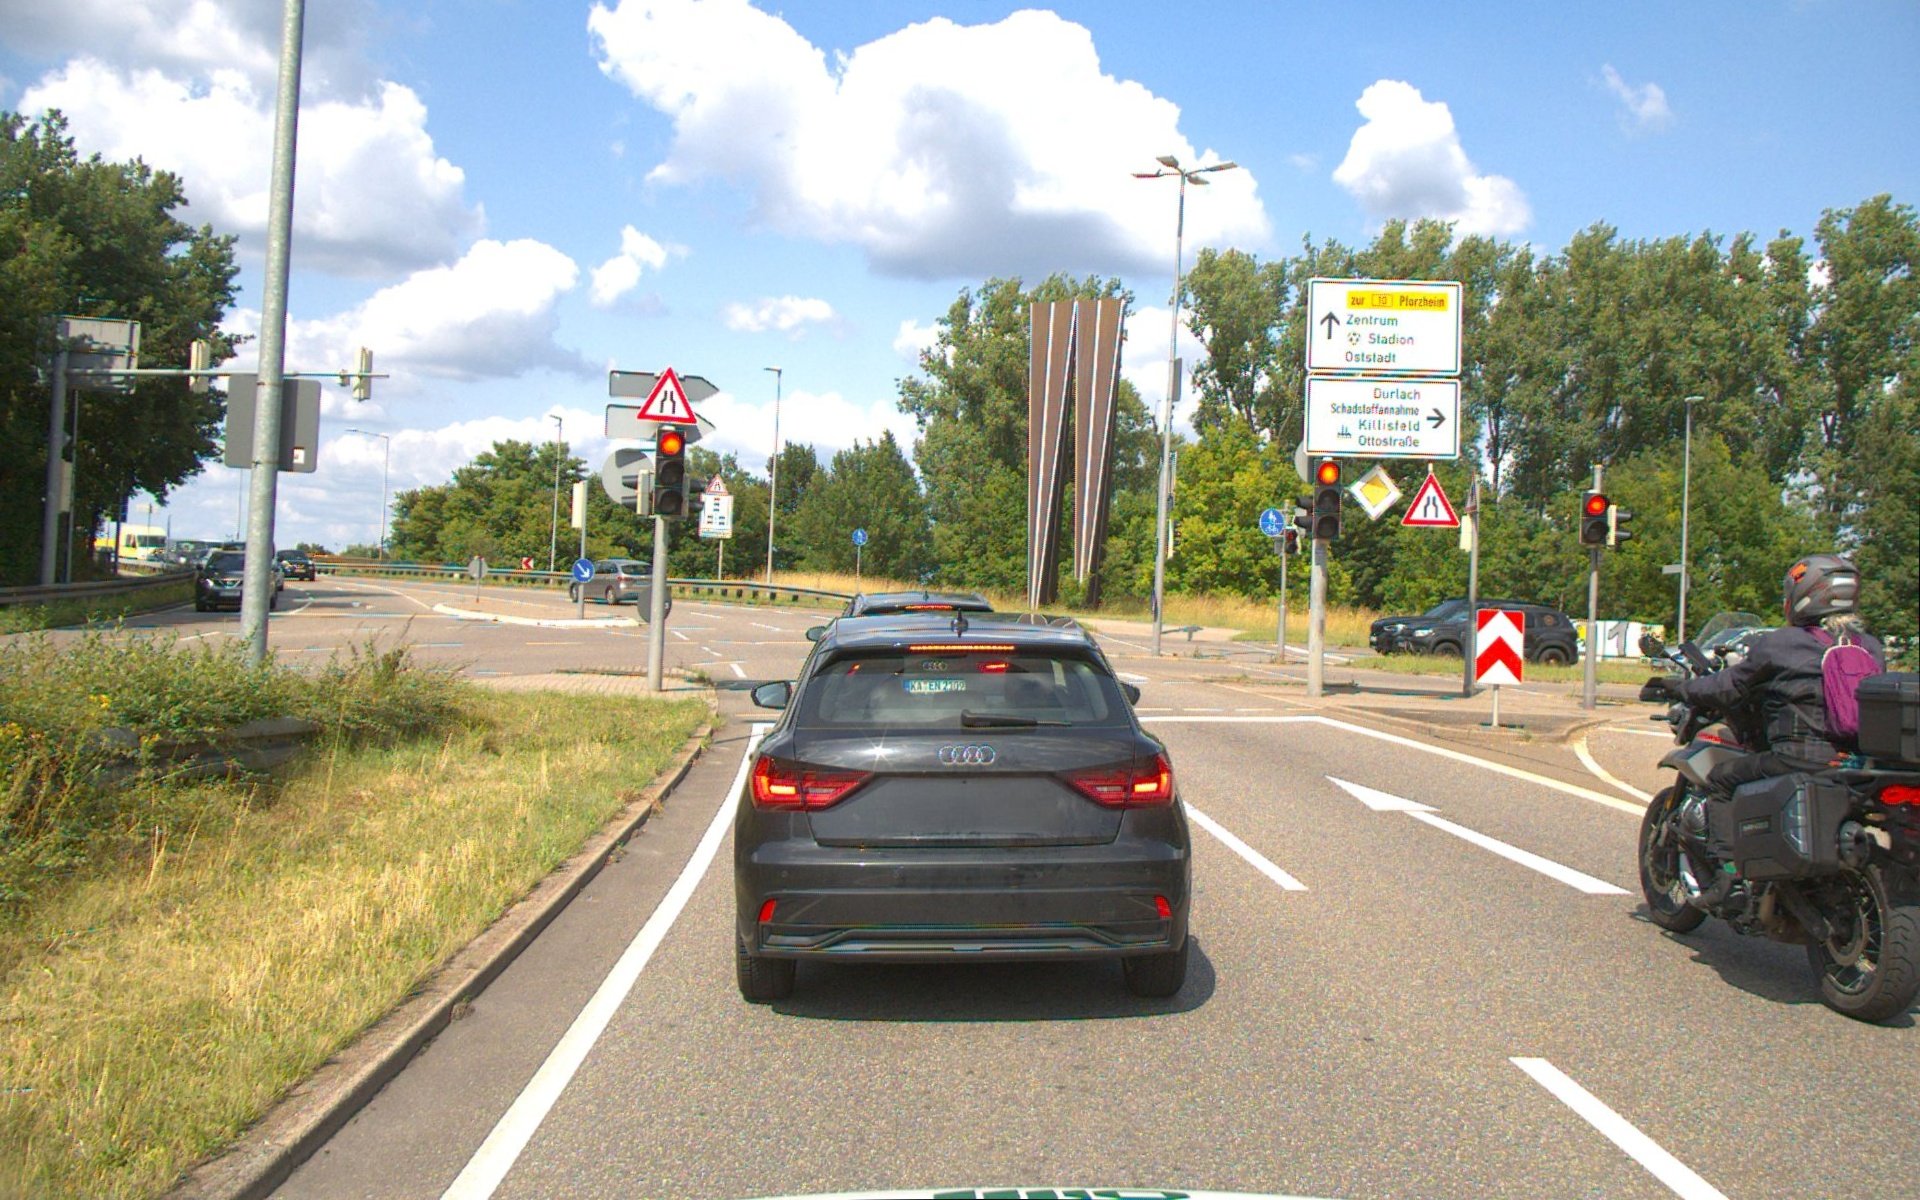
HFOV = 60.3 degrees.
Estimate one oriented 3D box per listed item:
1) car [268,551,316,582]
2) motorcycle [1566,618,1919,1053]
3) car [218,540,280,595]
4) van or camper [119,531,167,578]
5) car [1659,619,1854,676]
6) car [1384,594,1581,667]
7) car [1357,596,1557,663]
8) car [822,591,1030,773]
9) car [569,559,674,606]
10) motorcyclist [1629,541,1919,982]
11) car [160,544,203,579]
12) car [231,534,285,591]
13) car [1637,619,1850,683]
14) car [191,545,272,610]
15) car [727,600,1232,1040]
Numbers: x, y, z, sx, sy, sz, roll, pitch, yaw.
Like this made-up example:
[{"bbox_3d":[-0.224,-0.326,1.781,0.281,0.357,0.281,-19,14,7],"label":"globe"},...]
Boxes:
[{"bbox_3d":[-34.169,-1.716,84.556,1.712,1.522,4.007,2,0,-29],"label":"car"},{"bbox_3d":[3.393,0.813,6.736,0.918,1.407,2.369,2,0,-1],"label":"motorcycle"},{"bbox_3d":[-25.369,-1.140,59.106,1.817,1.833,4.299,2,0,-22],"label":"car"},{"bbox_3d":[-50.329,-2.778,101.788,1.974,2.730,6.788,2,0,-32],"label":"van or camper"},{"bbox_3d":[21.332,1.262,44.385,4.404,1.304,1.736,2,0,-4],"label":"car"},{"bbox_3d":[12.609,0.720,40.071,4.182,1.572,1.736,2,0,-2],"label":"car"},{"bbox_3d":[13.160,0.777,43.931,4.750,1.572,1.736,2,0,-2],"label":"car"},{"bbox_3d":[-0.434,0.648,15.331,1.692,1.448,3.841,0,1,-5],"label":"car"},{"bbox_3d":[-11.906,-0.631,58.048,1.979,1.522,4.064,2,0,-38],"label":"car"},{"bbox_3d":[3.404,0.600,6.677,0.918,1.618,1.083,2,0,-1],"label":"motorcyclist"},{"bbox_3d":[-42.132,-2.080,89.506,1.823,1.735,4.286,2,0,-29],"label":"car"},{"bbox_3d":[-28.214,-1.488,66.407,1.819,2.137,4.293,2,0,-24],"label":"car"},{"bbox_3d":[19.071,1.226,40.348,4.384,1.343,1.735,2,0,-4],"label":"car"},{"bbox_3d":[-19.880,-0.566,45.262,1.813,1.646,3.974,2,-1,-21],"label":"car"},{"bbox_3d":[0.039,0.733,7.537,1.691,1.429,3.999,0,1,-1],"label":"car"}]
